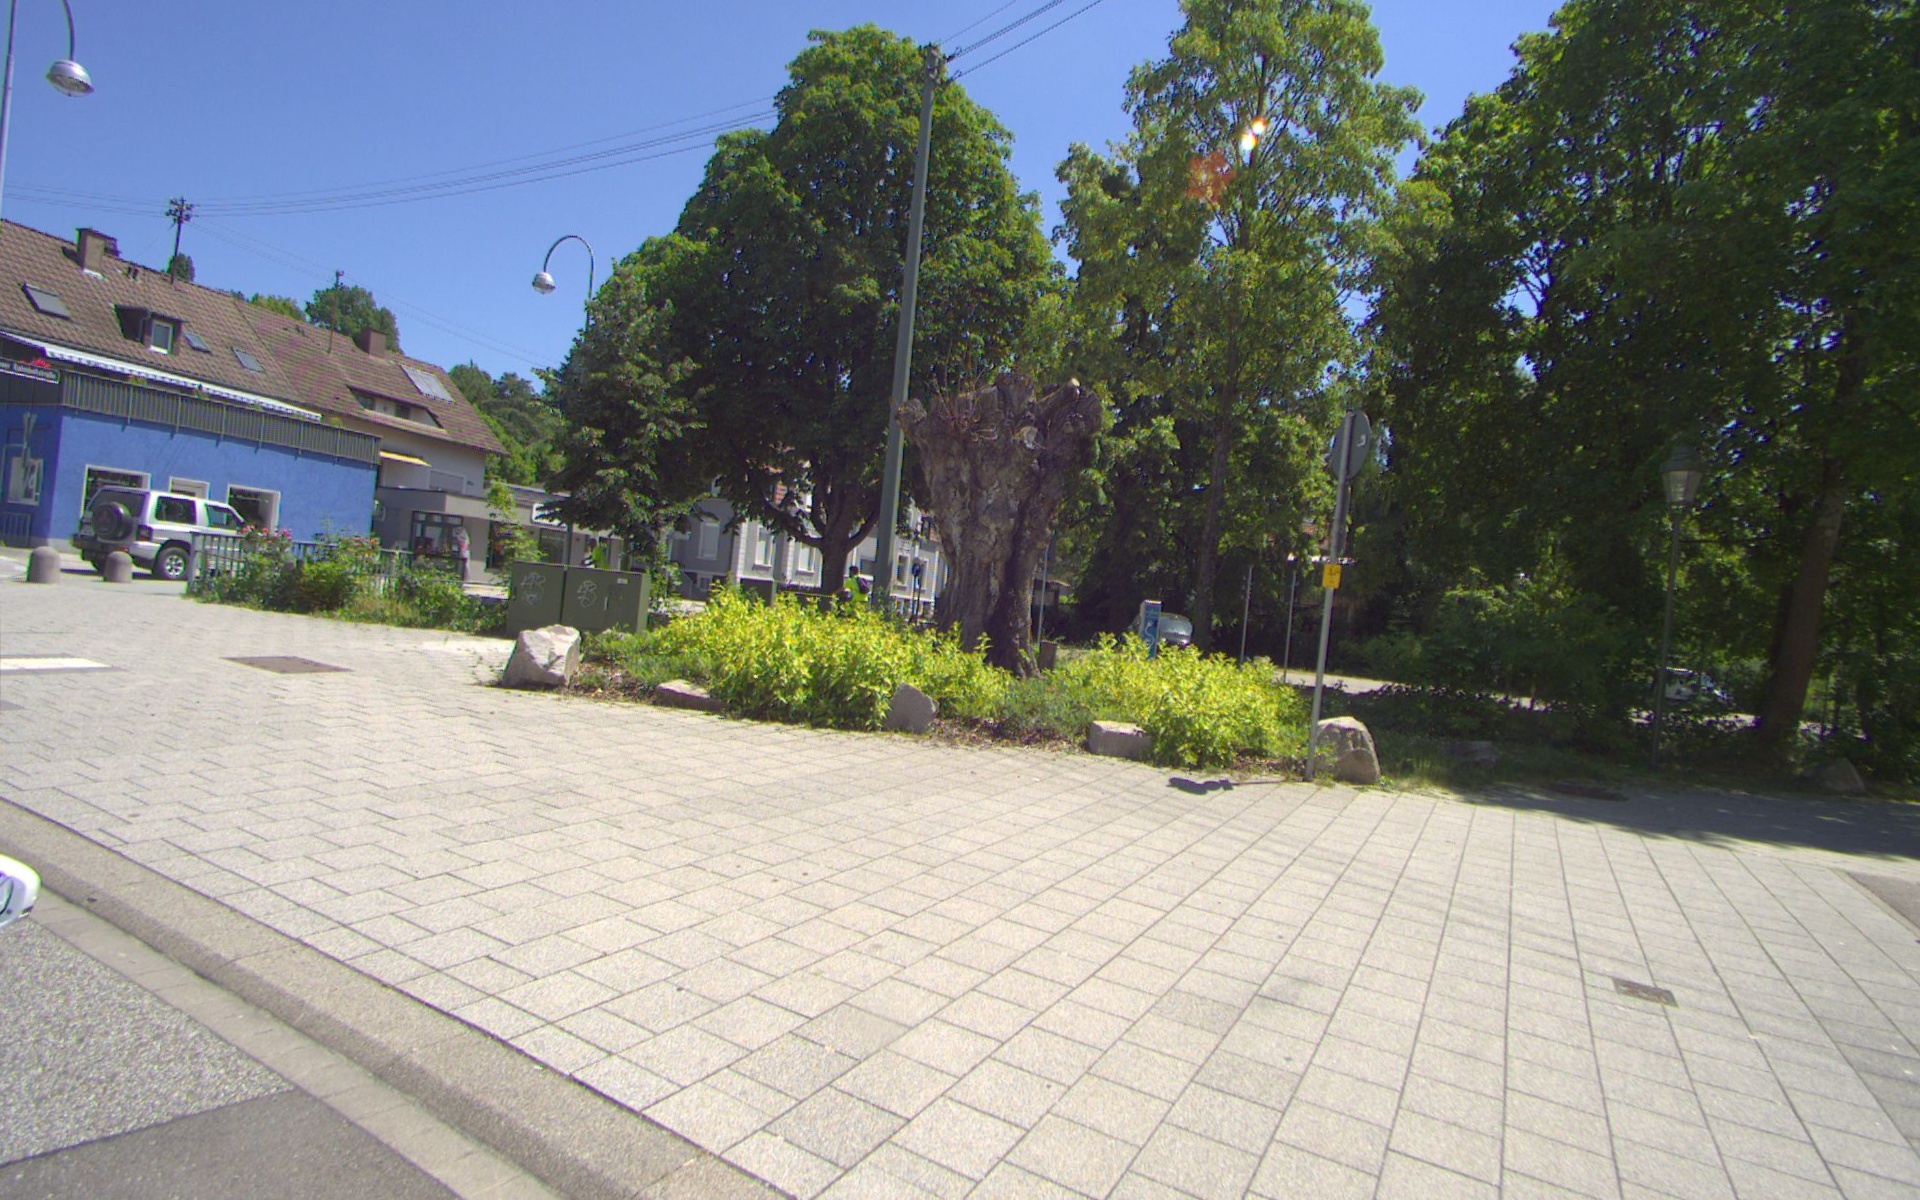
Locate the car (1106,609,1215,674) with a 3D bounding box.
[{"bbox_3d":[5.519,1.108,28.157,1.645,1.472,3.755,6,0,-10],"label":"car"}]

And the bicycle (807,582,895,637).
[{"bbox_3d":[-2.550,0.214,23.618,1.814,1.097,0.747,6,1,12],"label":"bicycle"}]

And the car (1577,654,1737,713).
[{"bbox_3d":[37.615,4.464,54.542,2.169,2.267,6.713,5,0,-29],"label":"car"}]

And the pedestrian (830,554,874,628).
[{"bbox_3d":[-2.528,-0.209,23.612,0.704,1.652,0.747,6,1,12],"label":"pedestrian"}]

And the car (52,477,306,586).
[{"bbox_3d":[-16.717,-1.379,21.839,1.729,1.899,4.231,6,0,8],"label":"car"}]

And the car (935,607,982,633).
[{"bbox_3d":[-0.097,1.461,71.609,1.747,1.571,3.672,5,0,28],"label":"car"}]

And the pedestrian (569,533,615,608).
[{"bbox_3d":[-9.370,-0.739,25.637,0.668,1.824,0.737,7,3,23],"label":"pedestrian"}]
